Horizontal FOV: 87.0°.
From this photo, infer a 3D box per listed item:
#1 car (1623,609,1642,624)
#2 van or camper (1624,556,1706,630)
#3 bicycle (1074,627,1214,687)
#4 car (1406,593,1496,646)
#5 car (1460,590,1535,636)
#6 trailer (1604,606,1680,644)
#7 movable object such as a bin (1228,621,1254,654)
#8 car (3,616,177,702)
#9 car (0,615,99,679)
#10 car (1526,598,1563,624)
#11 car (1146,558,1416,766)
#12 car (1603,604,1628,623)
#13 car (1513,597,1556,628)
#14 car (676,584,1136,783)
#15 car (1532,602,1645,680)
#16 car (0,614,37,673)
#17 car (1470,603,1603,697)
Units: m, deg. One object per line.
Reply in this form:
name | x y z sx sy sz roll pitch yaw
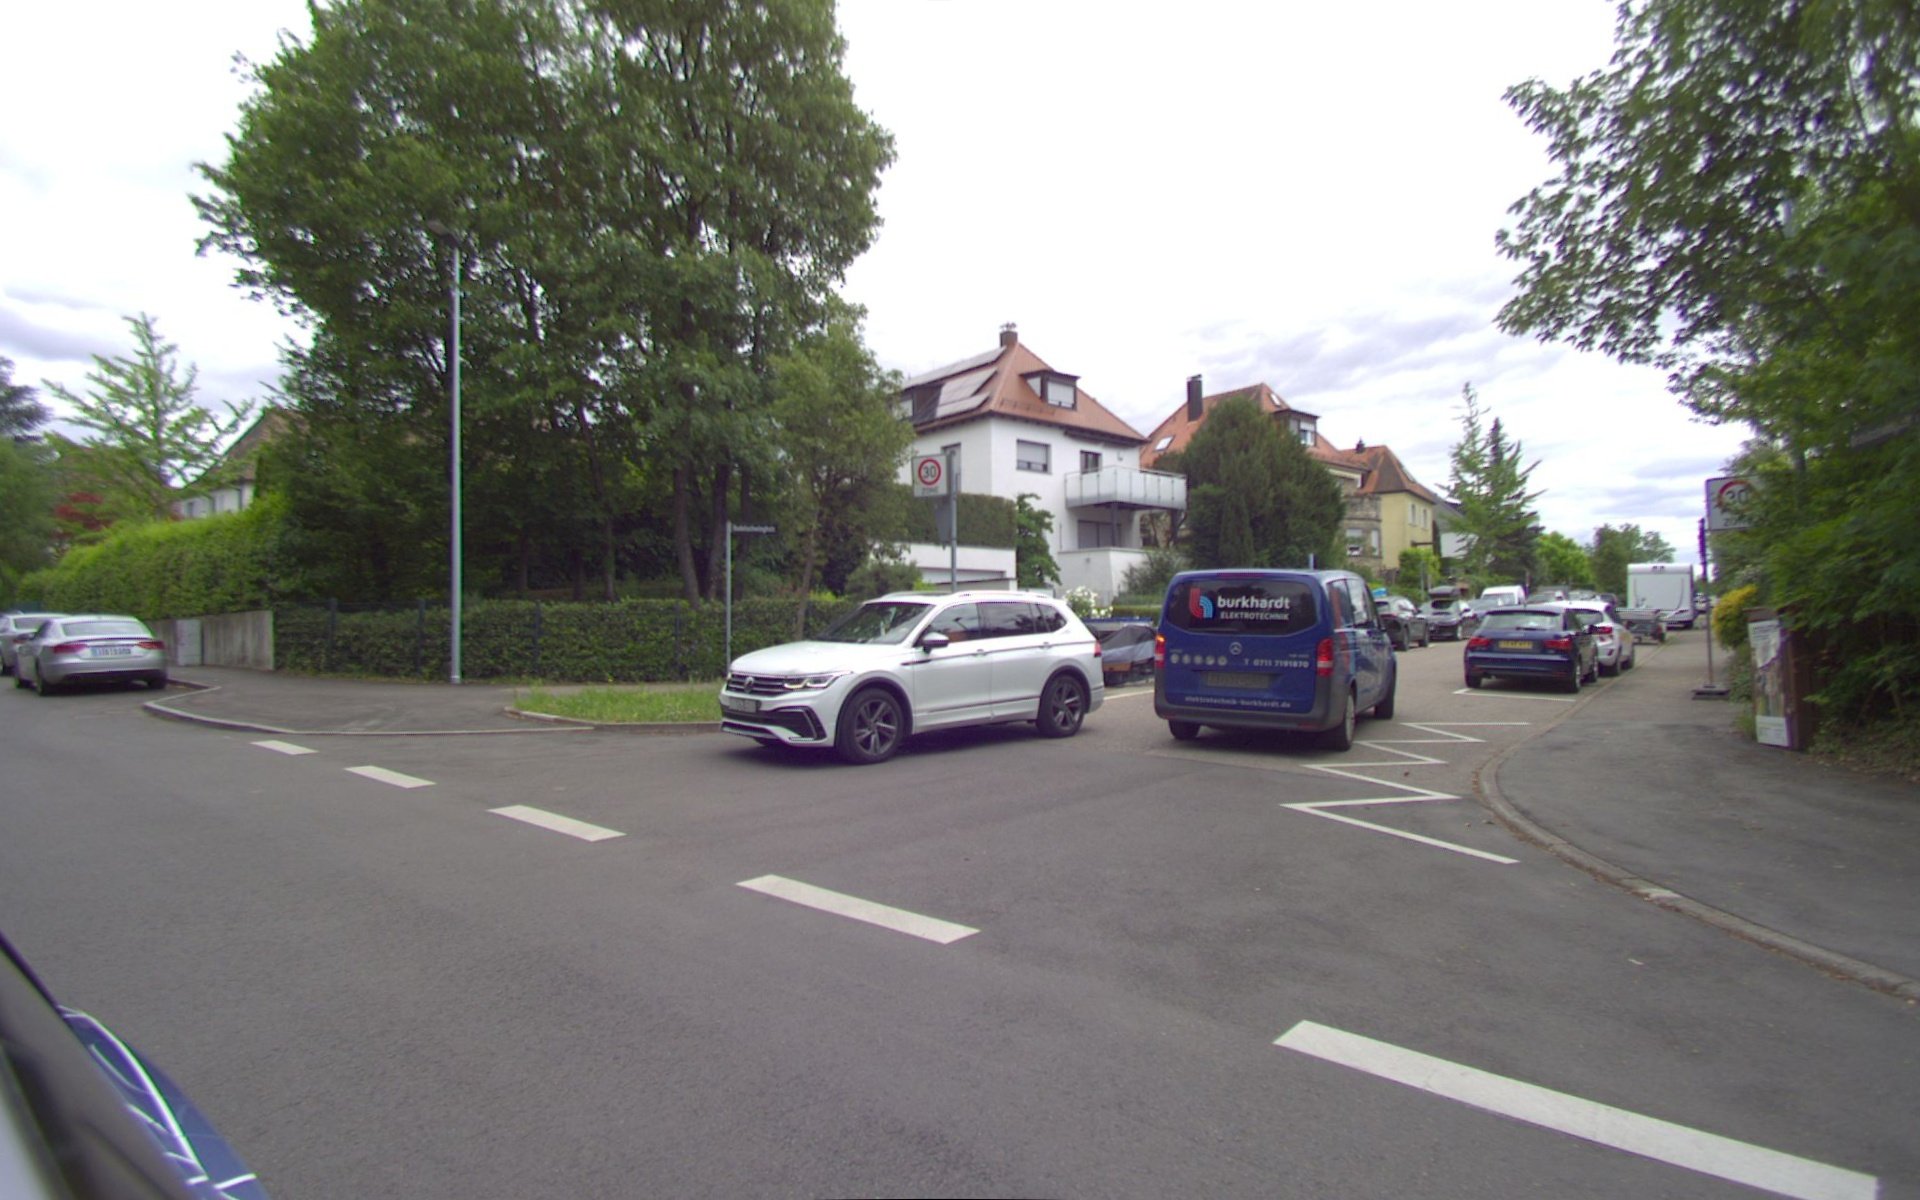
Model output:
car | 68.790 1.651 103.473 1.526 1.422 3.510 -1 -1 34
van or camper | 30.114 -0.274 43.085 2.304 2.867 7.521 -2 -1 39
bicycle | 3.435 1.045 18.897 2.541 1.009 0.654 -1 -1 -17
car | 17.603 0.657 36.221 1.998 1.807 3.947 -1 0 40
car | 22.406 0.515 42.150 1.998 1.807 3.947 -1 0 40
trailer | 21.388 0.765 31.691 1.480 1.104 3.336 -1 -1 43
movable object such as a bin | 8.745 1.155 31.490 0.576 1.009 0.577 0 -1 -45
car | -16.438 1.031 19.047 4.442 1.384 1.813 -1 0 41
car | -22.547 1.099 24.392 4.331 1.384 1.759 -1 0 36
car | 32.668 0.600 56.521 1.526 1.422 3.510 -1 -1 34
car | 3.883 0.578 11.644 1.936 1.894 4.482 -1 -1 31
car | 51.445 1.045 79.415 1.526 1.422 3.510 -1 -1 34
car | 27.736 0.568 48.823 1.526 1.422 3.510 -1 -1 34
car | -0.365 0.687 11.017 4.878 1.682 2.039 -1 0 -44
car | 12.910 0.774 20.687 1.528 1.422 3.747 -1 -1 38
car | -27.102 1.197 27.940 4.468 1.545 1.641 -1 0 38
car | 10.091 0.795 17.611 1.668 1.422 3.509 -1 -1 35
